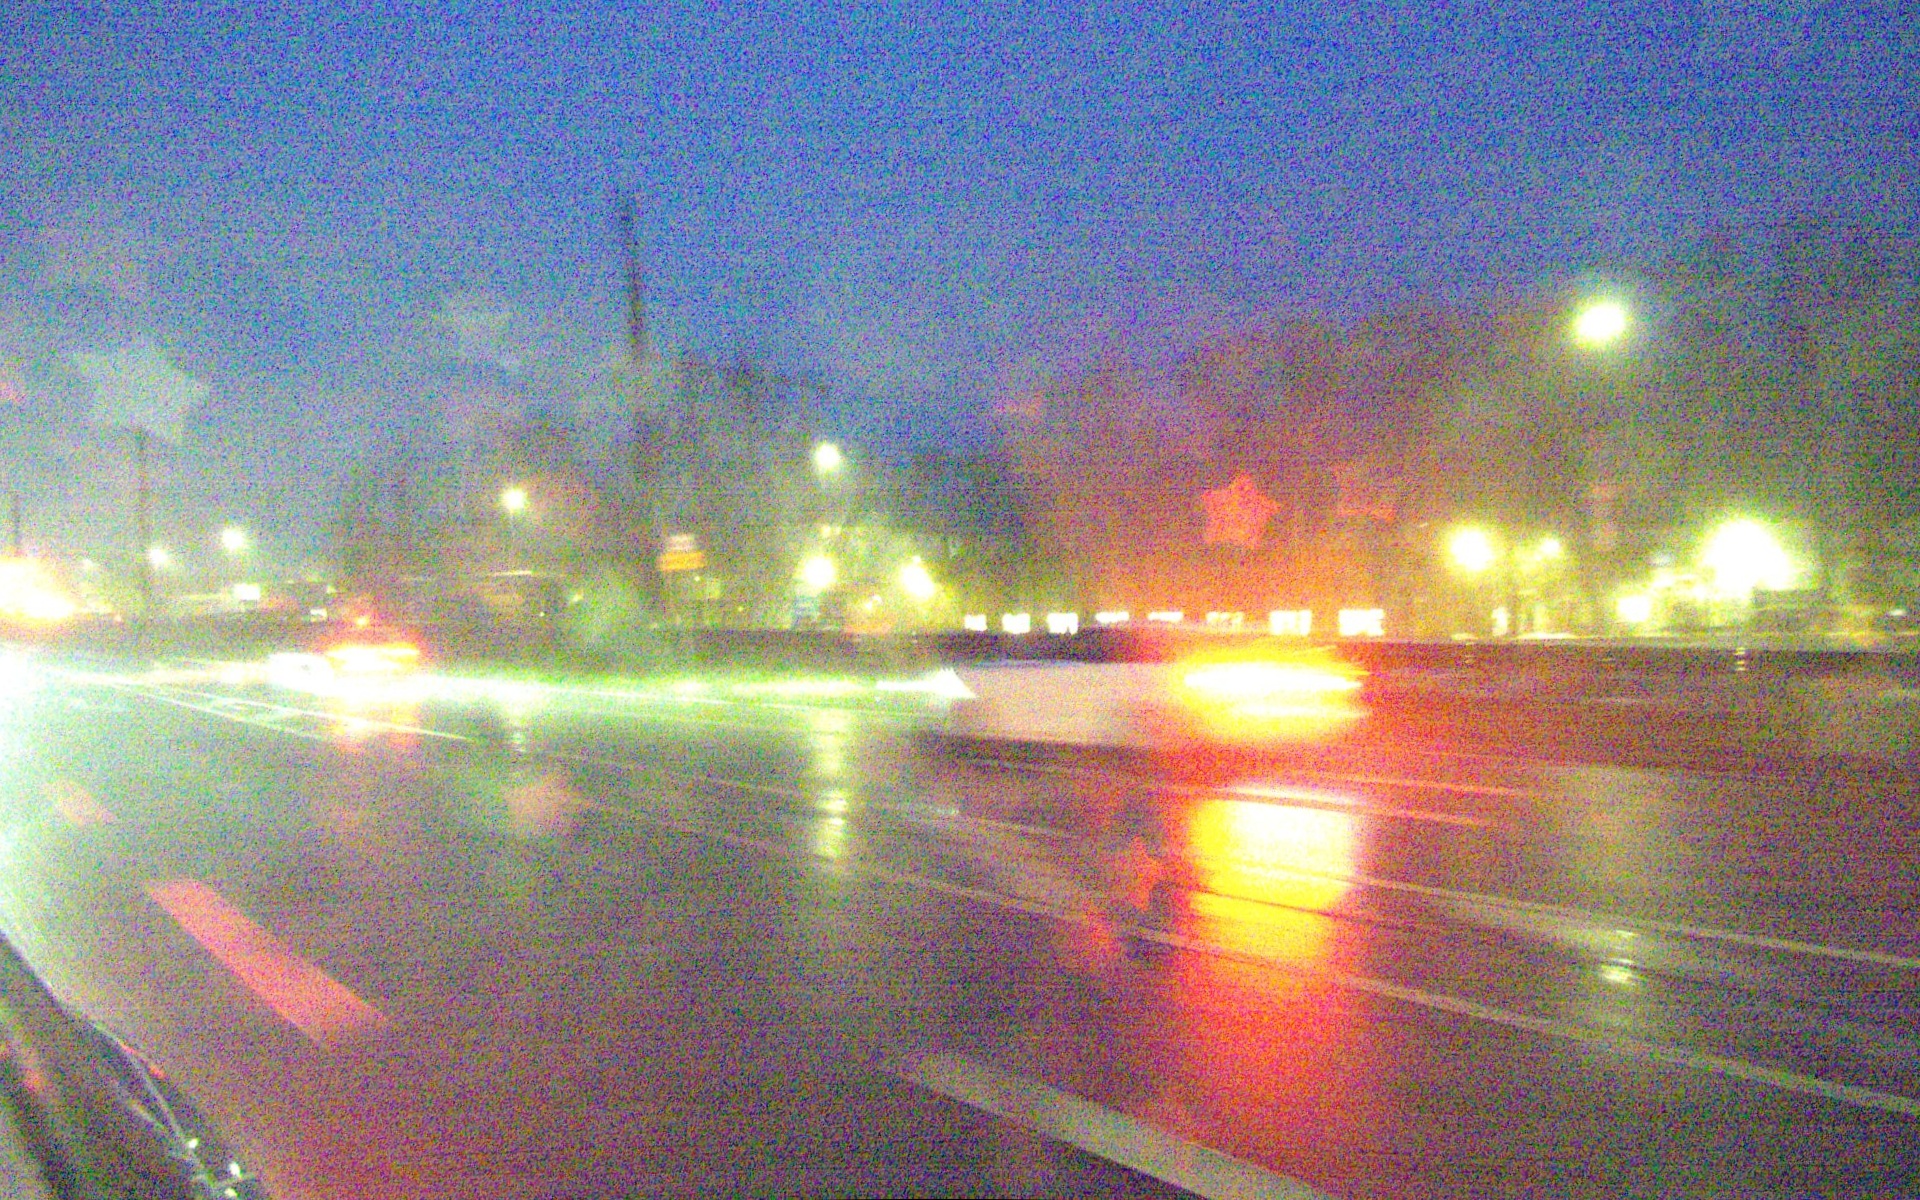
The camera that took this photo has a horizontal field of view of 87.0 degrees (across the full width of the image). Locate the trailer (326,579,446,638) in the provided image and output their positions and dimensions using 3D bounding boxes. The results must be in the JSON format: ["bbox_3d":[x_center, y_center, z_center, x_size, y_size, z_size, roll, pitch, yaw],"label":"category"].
[{"bbox_3d":[-51.005,0.680,89.526,15.505,4.643,3.931,0,4,41],"label":"trailer"}]

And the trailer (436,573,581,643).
[{"bbox_3d":[-33.931,0.528,75.645,14.238,4.643,3.931,0,4,41],"label":"trailer"}]

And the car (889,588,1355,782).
[{"bbox_3d":[1.575,0.773,10.856,4.645,1.654,1.745,-1,0,37],"label":"car"}]

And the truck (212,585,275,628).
[{"bbox_3d":[-83.564,0.745,117.940,10.206,4.643,3.405,0,4,40],"label":"truck"}]

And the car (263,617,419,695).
[{"bbox_3d":[-14.315,1.213,23.339,4.025,1.600,1.785,-1,1,38],"label":"car"}]

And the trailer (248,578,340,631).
[{"bbox_3d":[-70.485,0.431,106.901,14.825,5.049,3.931,0,4,41],"label":"trailer"}]

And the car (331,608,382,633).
[{"bbox_3d":[-43.236,1.479,72.432,4.214,1.706,1.769,-2,1,39],"label":"car"}]

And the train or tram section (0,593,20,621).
[{"bbox_3d":[-153.092,1.067,159.812,37.125,3.842,2.669,0,4,41],"label":"train or tram section"}]
